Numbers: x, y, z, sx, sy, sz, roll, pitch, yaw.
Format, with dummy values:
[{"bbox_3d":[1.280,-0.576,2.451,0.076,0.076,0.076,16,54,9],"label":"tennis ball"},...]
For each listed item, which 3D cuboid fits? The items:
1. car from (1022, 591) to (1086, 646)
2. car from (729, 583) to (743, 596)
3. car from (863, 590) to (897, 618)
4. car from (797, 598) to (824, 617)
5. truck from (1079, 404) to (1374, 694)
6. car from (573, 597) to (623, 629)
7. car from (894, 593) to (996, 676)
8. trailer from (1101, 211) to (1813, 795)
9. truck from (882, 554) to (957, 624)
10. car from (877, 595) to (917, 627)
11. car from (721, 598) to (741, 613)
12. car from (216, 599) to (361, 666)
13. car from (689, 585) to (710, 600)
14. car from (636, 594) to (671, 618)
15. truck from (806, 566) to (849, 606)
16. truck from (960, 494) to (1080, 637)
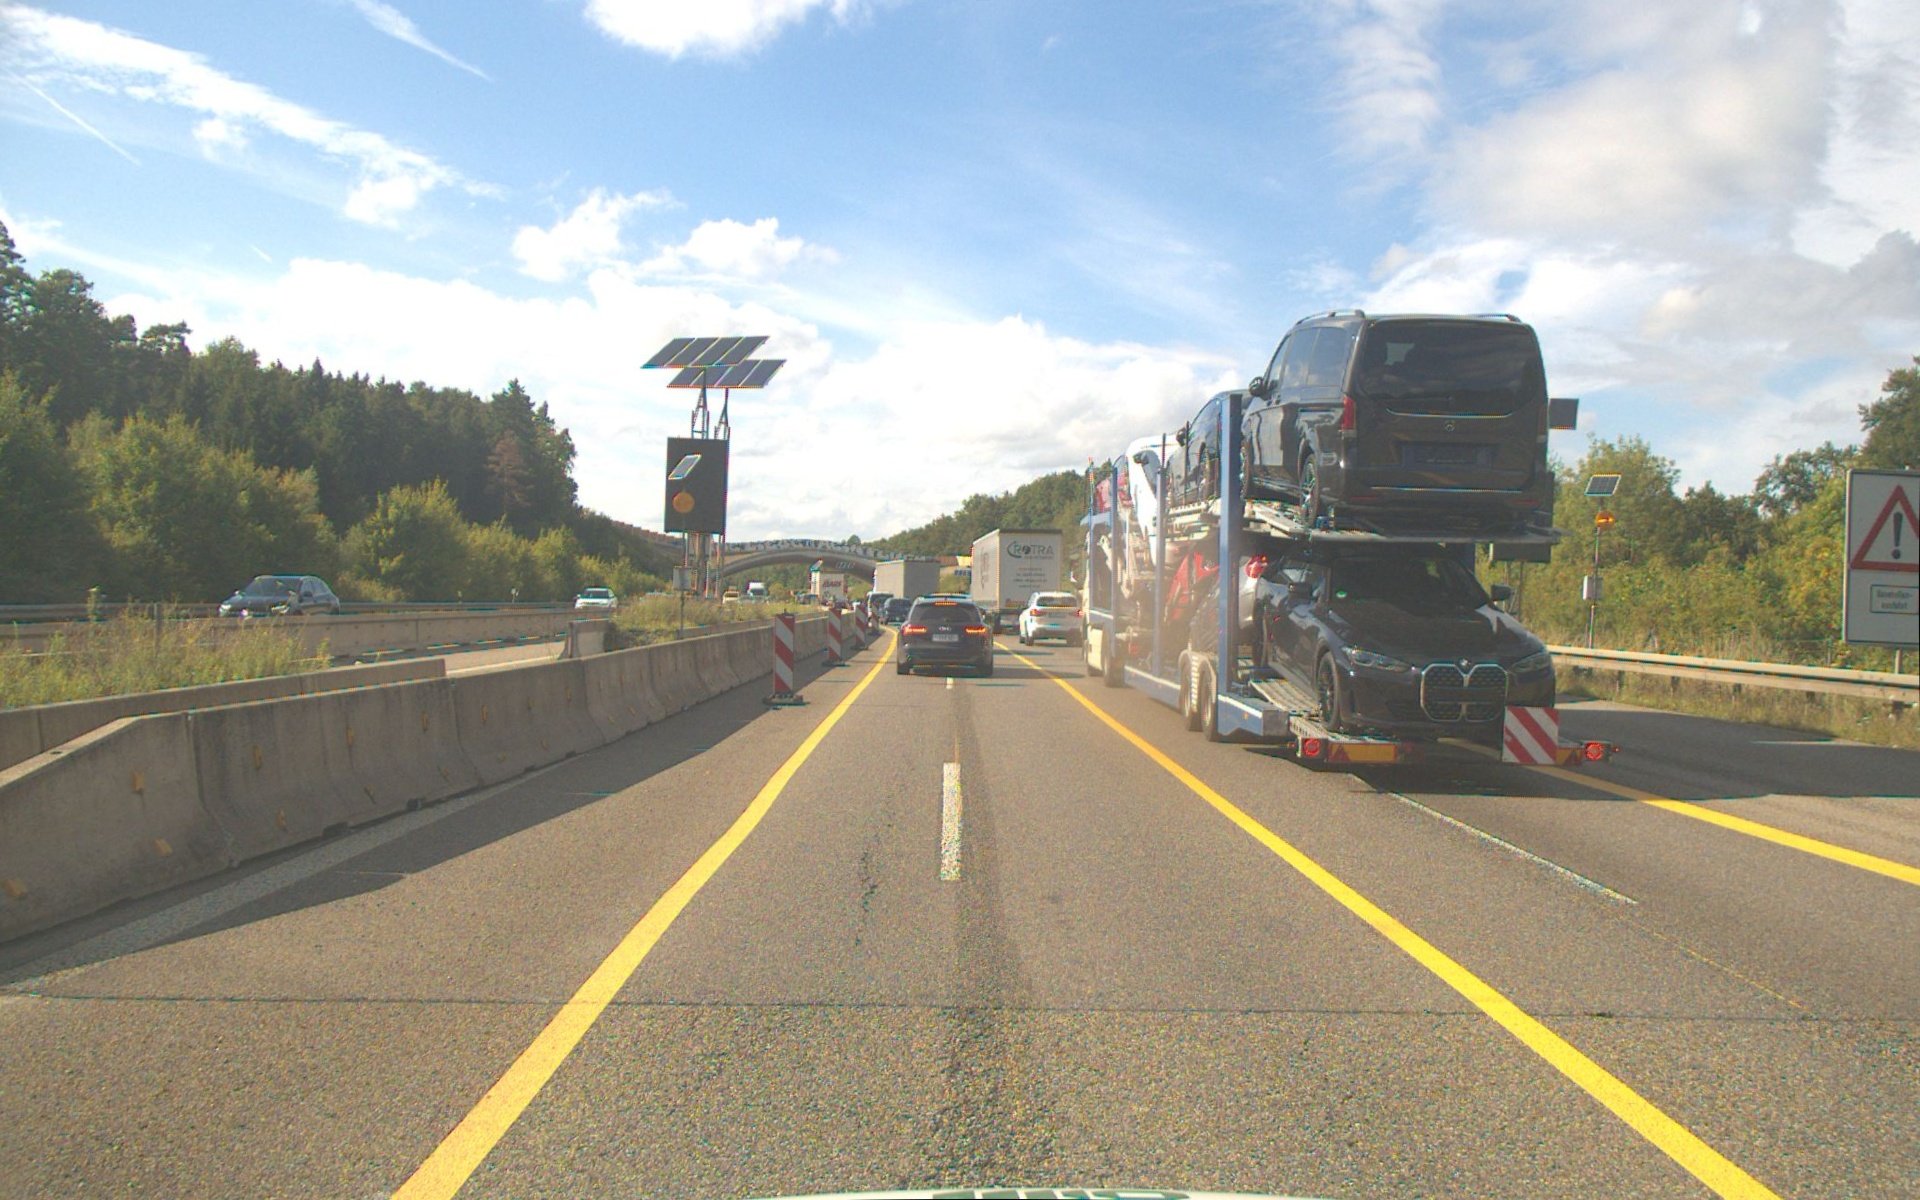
[{"bbox_3d":[2.946,0.566,52.565,1.851,1.672,4.018,1,0,1],"label":"car"},{"bbox_3d":[-35.061,-1.626,258.987,1.745,1.899,3.997,1,0,-4],"label":"car"},{"bbox_3d":[-4.983,0.232,102.647,1.854,1.672,4.012,1,0,-6],"label":"car"},{"bbox_3d":[-12.850,0.641,142.167,1.747,1.630,4.004,1,0,-13],"label":"car"},{"bbox_3d":[4.278,-0.761,28.729,3.685,4.269,7.949,1,0,-1],"label":"truck"},{"bbox_3d":[-19.443,0.670,88.921,1.741,1.630,4.018,1,0,1],"label":"car"},{"bbox_3d":[-0.238,0.624,32.123,1.851,1.472,4.000,1,0,1],"label":"car"},{"bbox_3d":[4.399,-0.719,20.406,3.650,4.269,16.224,1,0,-1],"label":"trailer"},{"bbox_3d":[-2.968,-0.732,117.338,4.237,4.681,11.108,1,0,-7],"label":"truck"},{"bbox_3d":[-3.435,0.573,89.304,1.854,1.672,4.012,1,0,-7],"label":"car"},{"bbox_3d":[-25.389,0.578,183.724,1.742,1.630,4.016,1,0,-2],"label":"car"},{"bbox_3d":[-17.231,0.800,42.682,1.918,1.616,4.482,1,0,-1],"label":"car"},{"bbox_3d":[-29.449,-0.813,186.859,1.929,1.630,4.942,1,0,-4],"label":"car"},{"bbox_3d":[-20.907,0.397,112.850,1.743,1.630,4.673,1,0,-3],"label":"car"},{"bbox_3d":[-13.863,-1.411,172.326,3.586,3.997,11.044,1,0,-9],"label":"truck"},{"bbox_3d":[2.329,-1.329,71.927,3.604,5.447,16.190,1,0,-3],"label":"truck"}]
